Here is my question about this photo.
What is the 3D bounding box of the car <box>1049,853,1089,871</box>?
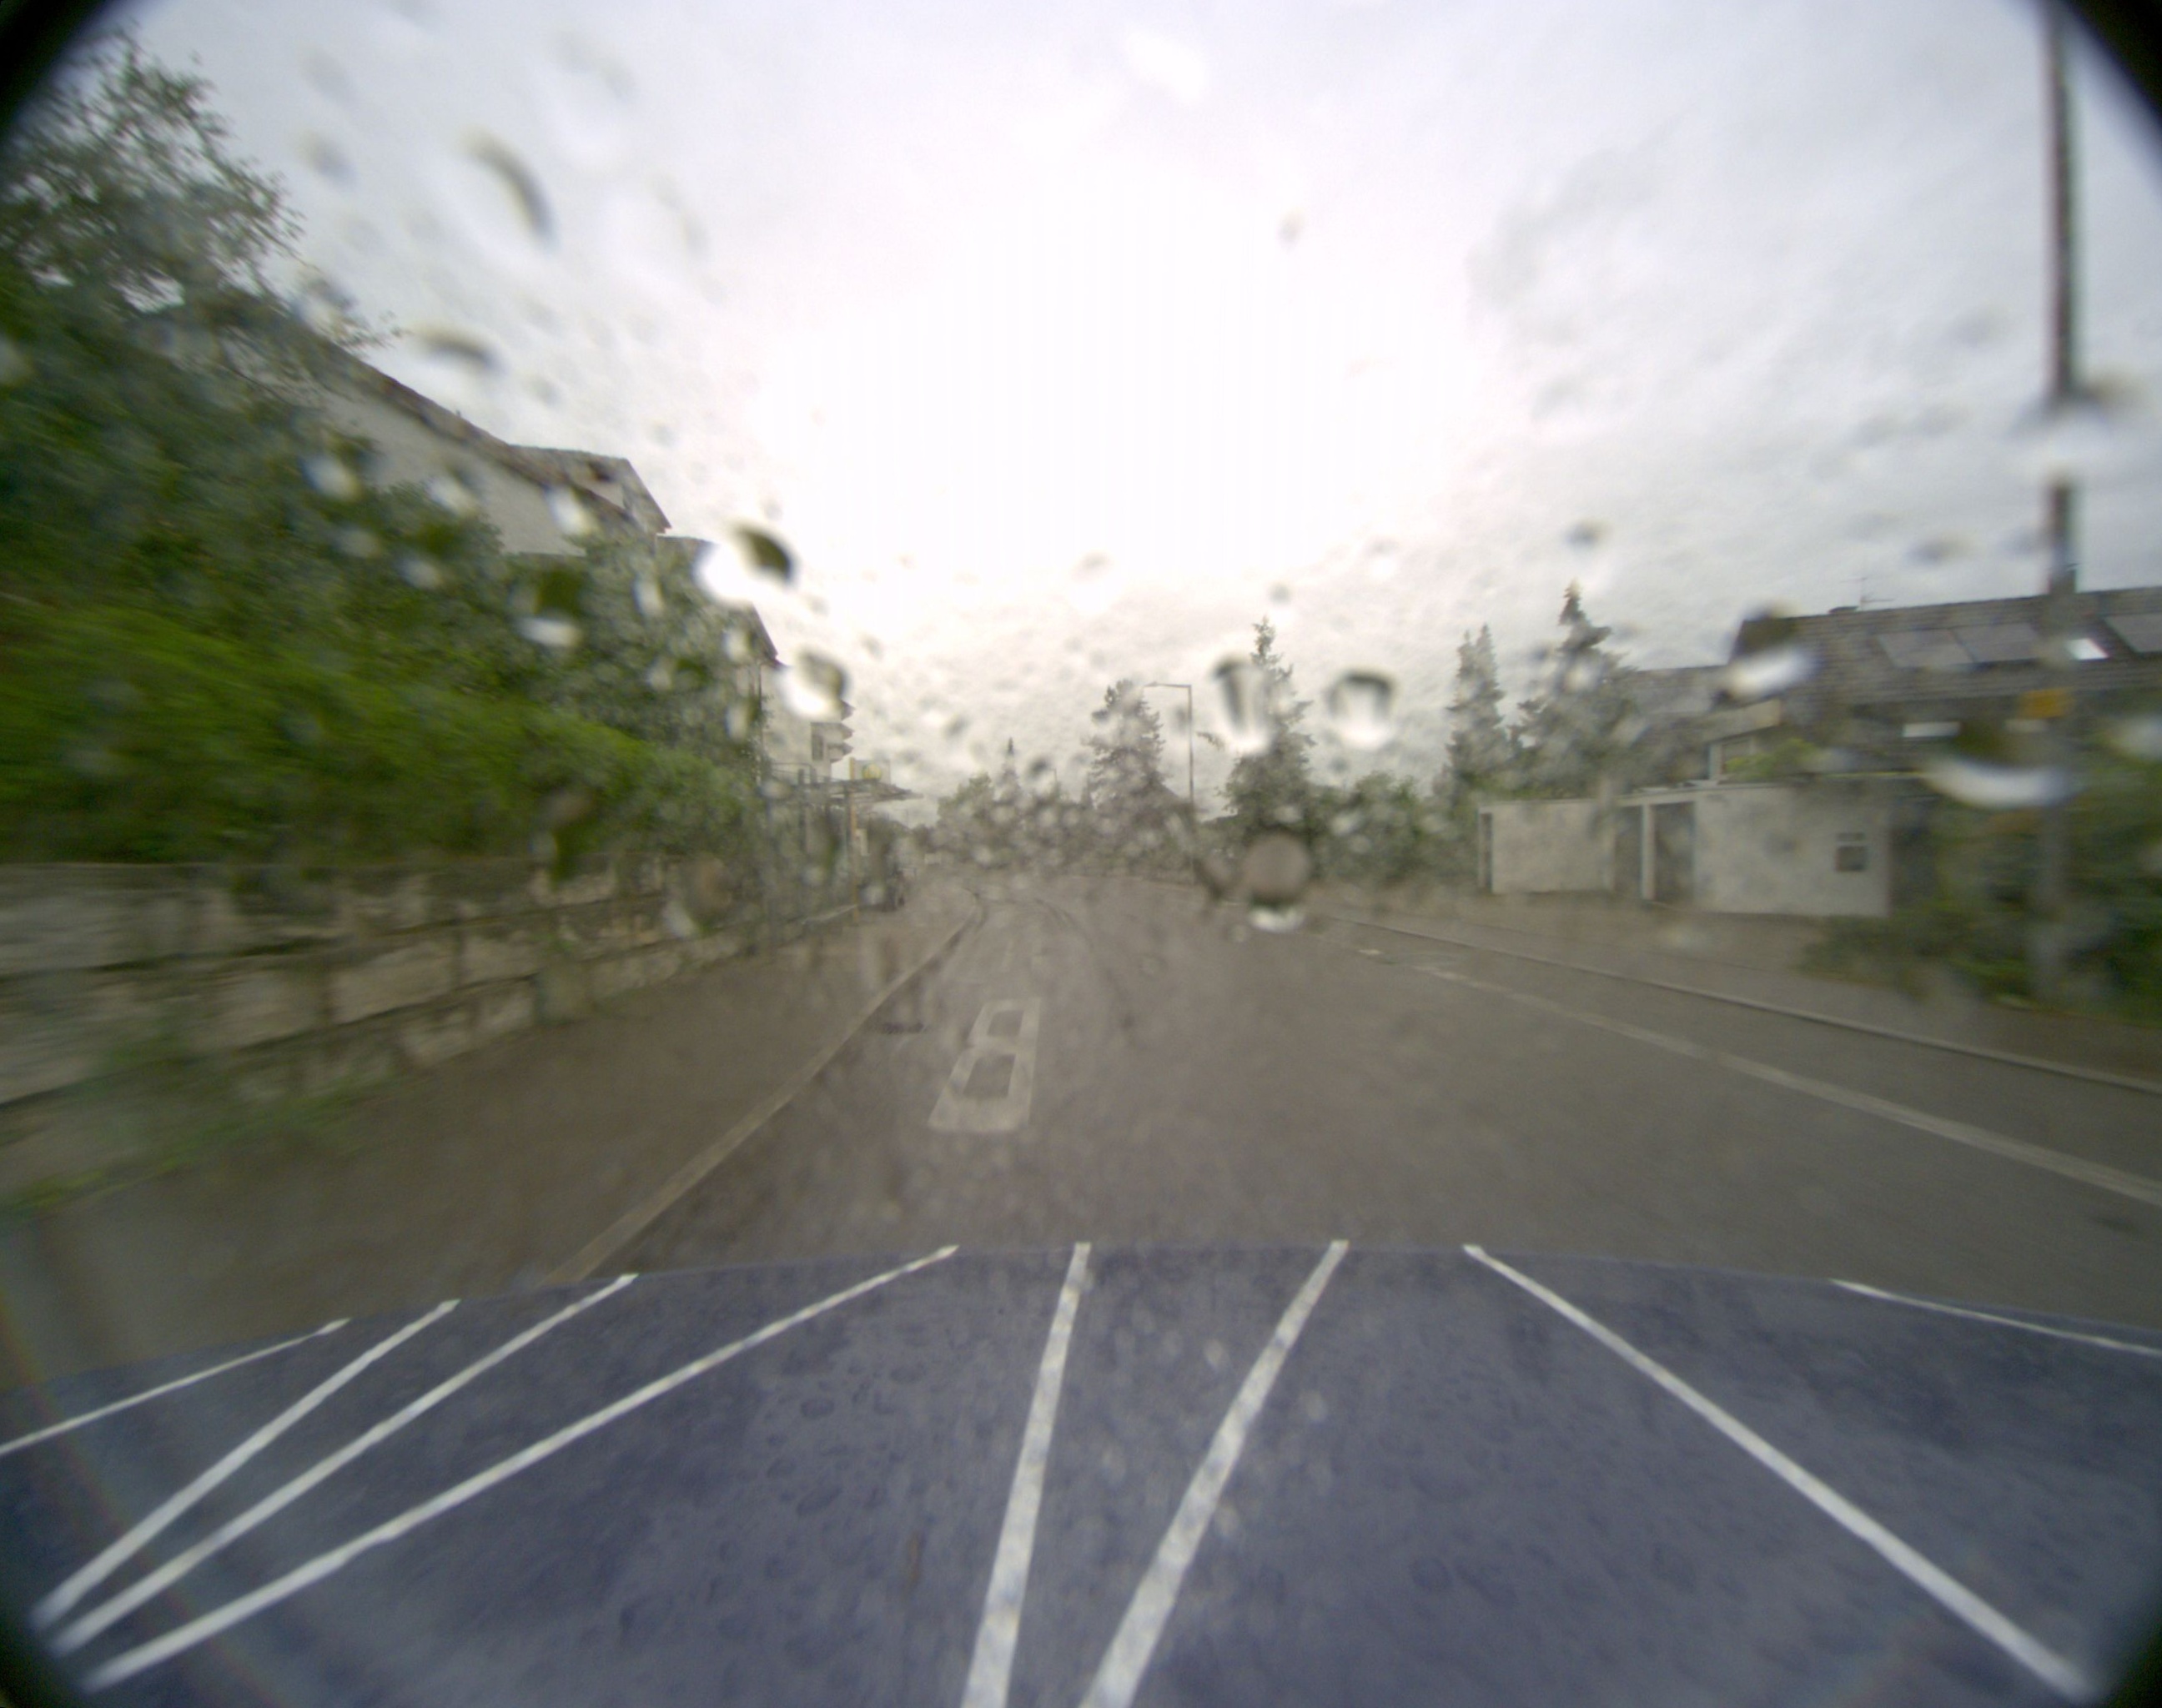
[{"bbox_3d":[-1.064,0.641,62.895,2.002,1.300,4.426,-2,1,-19],"label":"car"}]

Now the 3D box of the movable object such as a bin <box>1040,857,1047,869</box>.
[{"bbox_3d":[-3.102,0.774,63.133,0.372,0.982,0.557,-2,1,-20],"label":"movable object such as a bin"}]

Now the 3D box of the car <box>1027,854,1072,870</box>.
[{"bbox_3d":[-3.010,0.739,72.496,4.001,1.264,1.871,-3,1,-14],"label":"car"}]

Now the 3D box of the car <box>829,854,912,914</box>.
[{"bbox_3d":[-5.615,0.749,20.716,1.710,1.445,4.017,1,0,-9],"label":"car"}]

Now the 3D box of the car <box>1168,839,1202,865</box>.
[{"bbox_3d":[6.858,-0.148,50.423,1.998,1.565,4.001,-2,1,4],"label":"car"}]

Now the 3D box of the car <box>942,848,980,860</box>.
[{"bbox_3d":[-16.078,0.008,101.828,4.562,1.467,1.834,-4,2,-32],"label":"car"}]
